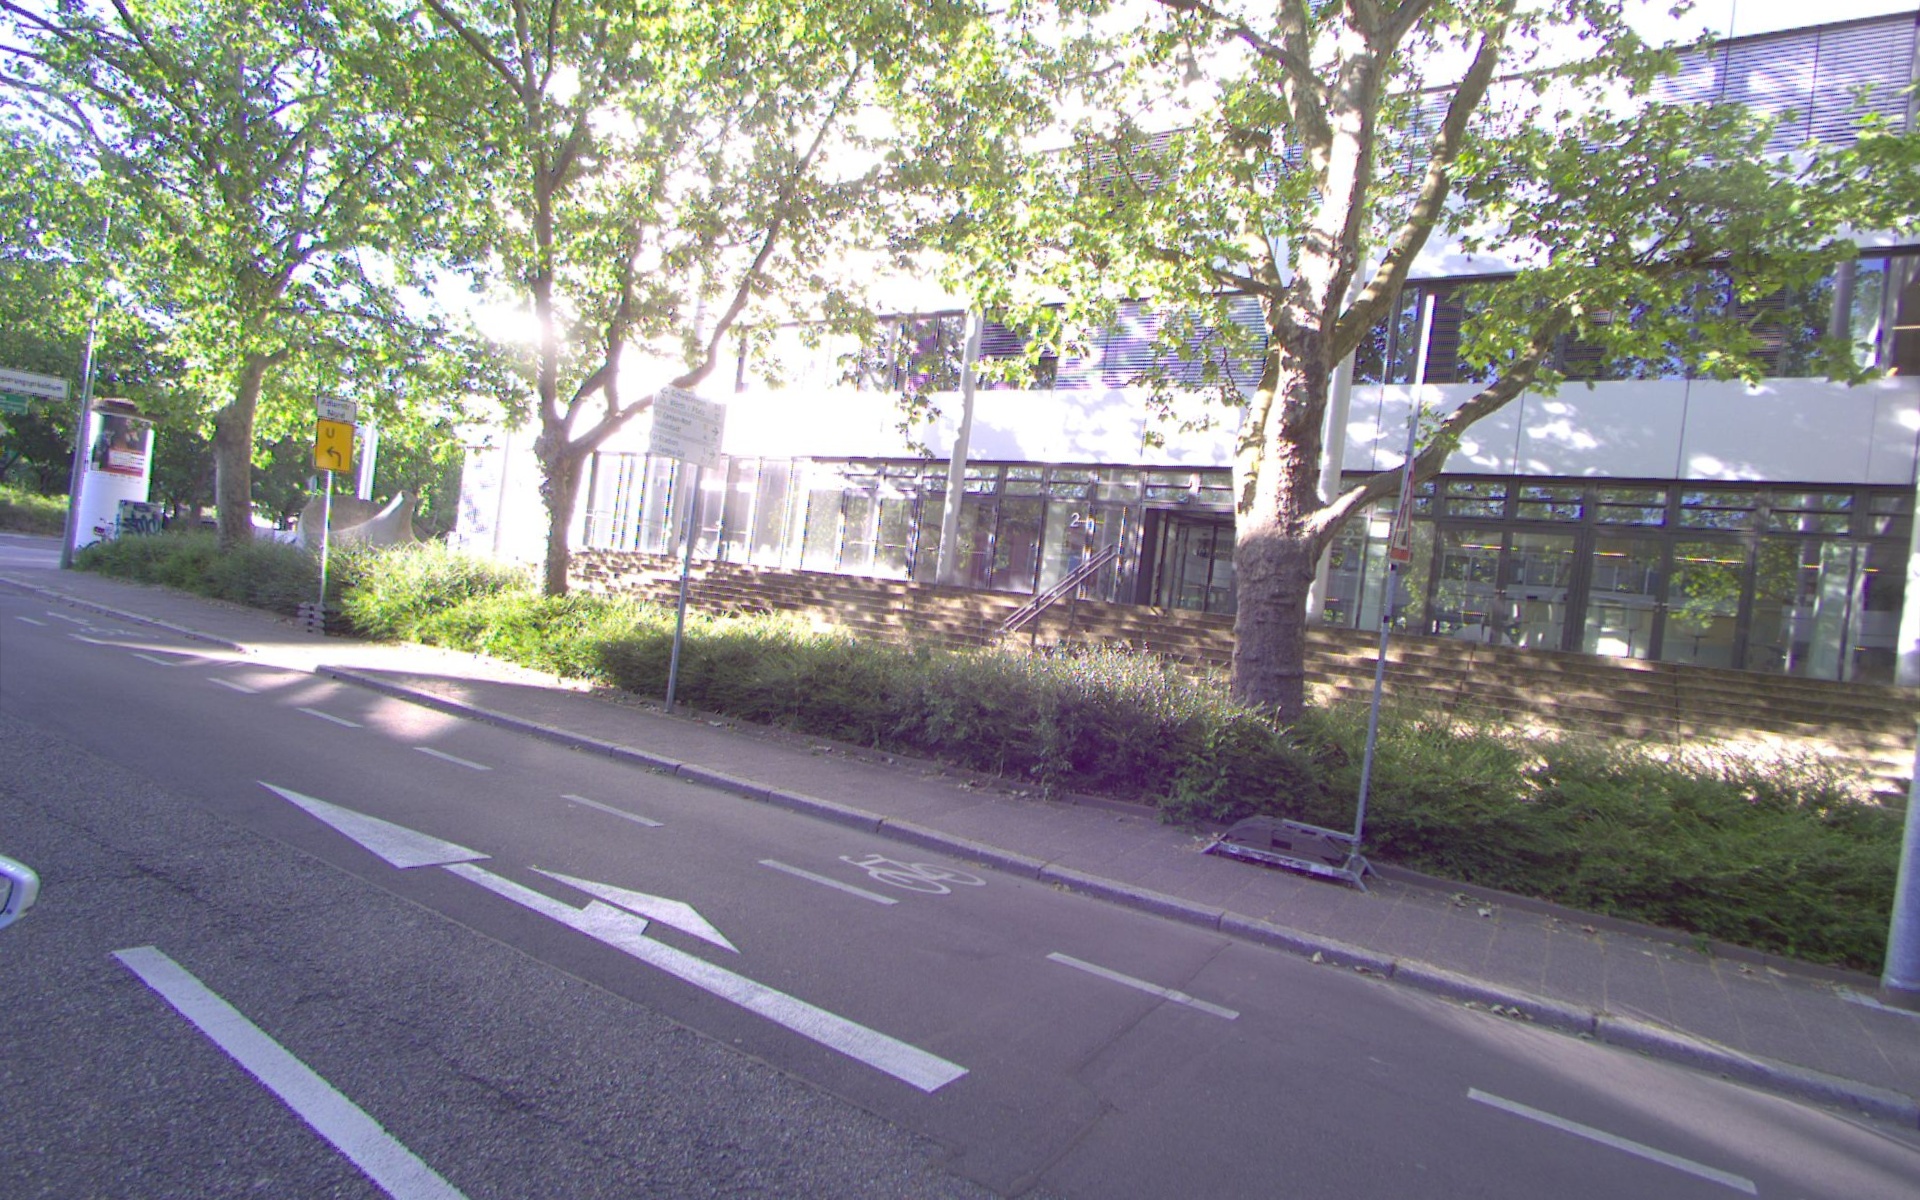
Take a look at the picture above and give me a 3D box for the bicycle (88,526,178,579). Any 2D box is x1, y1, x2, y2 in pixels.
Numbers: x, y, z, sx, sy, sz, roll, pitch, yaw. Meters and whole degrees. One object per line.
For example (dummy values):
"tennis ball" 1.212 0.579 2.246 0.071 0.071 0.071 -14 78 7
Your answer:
"bicycle" -19.033 -1.073 23.176 0.295 0.991 1.484 6 -2 37

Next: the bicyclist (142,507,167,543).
"bicyclist" -32.542 -3.023 40.660 0.534 1.363 0.523 6 -1 35

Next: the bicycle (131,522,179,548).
"bicycle" -32.551 -2.611 40.707 0.504 0.810 1.370 6 -2 35

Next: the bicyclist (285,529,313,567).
"bicyclist" -29.754 -2.344 45.271 0.588 1.600 0.730 6 -1 38
